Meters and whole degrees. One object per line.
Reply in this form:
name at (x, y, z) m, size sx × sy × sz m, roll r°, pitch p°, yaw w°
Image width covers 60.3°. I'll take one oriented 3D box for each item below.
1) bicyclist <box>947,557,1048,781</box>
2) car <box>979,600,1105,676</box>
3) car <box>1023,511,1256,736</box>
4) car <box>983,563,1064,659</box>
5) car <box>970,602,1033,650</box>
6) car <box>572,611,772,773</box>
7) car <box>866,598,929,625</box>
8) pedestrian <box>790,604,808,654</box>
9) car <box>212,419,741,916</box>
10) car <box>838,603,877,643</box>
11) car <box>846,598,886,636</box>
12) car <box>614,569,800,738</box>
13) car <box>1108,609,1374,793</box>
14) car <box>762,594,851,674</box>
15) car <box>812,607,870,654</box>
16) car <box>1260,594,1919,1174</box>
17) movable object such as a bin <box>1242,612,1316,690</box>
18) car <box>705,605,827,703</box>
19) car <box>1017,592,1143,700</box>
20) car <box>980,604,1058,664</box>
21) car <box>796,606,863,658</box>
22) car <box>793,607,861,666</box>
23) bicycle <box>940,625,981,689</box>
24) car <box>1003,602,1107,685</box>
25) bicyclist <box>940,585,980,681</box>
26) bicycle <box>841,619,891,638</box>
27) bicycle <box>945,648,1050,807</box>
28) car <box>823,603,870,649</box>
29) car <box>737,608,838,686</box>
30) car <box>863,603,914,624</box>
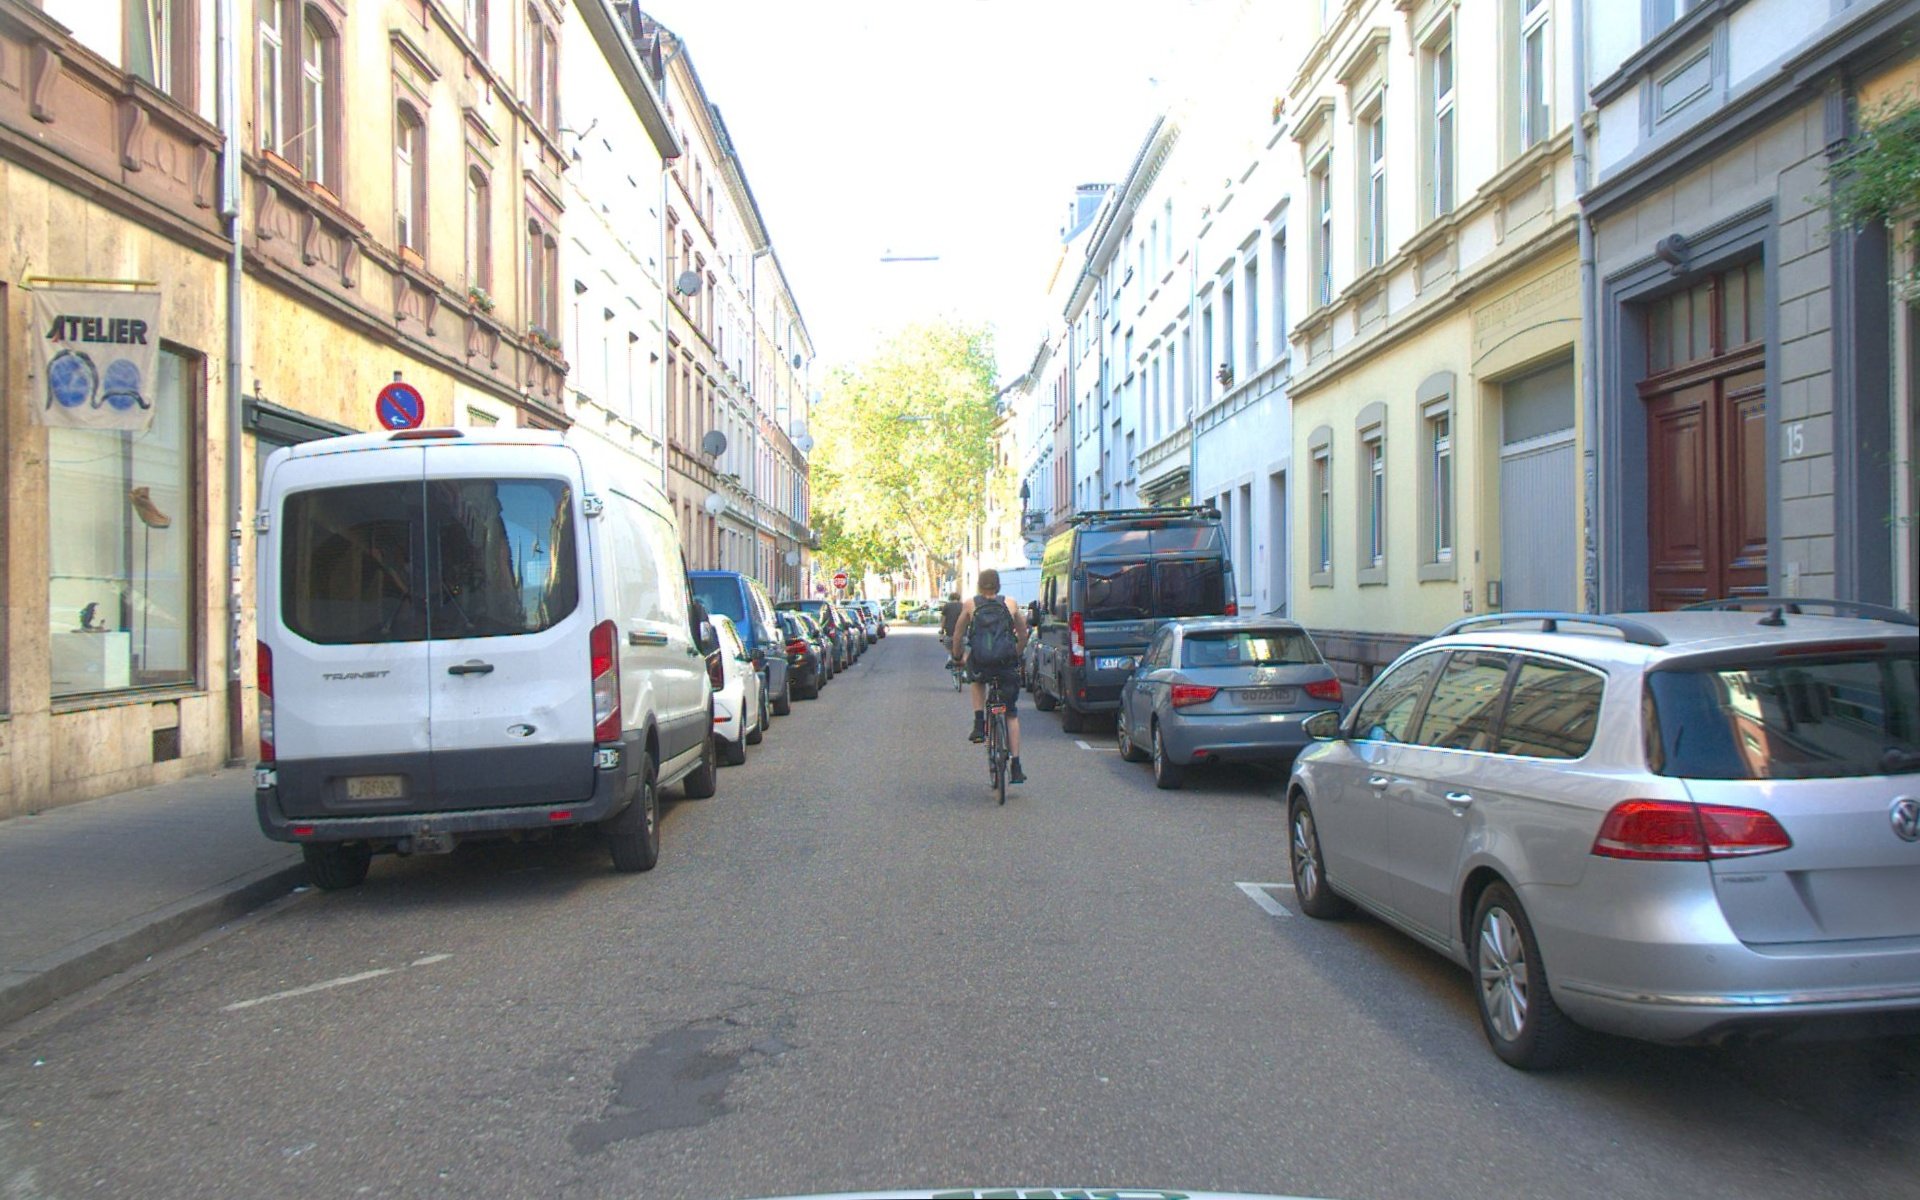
bicyclist at (0.284, 0.527, 13.242) m, size 0.725 × 1.708 × 1.116 m, roll 1°, pitch 0°, yaw -2°
car at (1.801, 0.813, 37.939) m, size 1.779 × 1.503 × 4.596 m, roll -4°, pitch 1°, yaw -11°
car at (2.158, 0.263, 21.921) m, size 2.131 × 2.467 × 6.307 m, roll -2°, pitch 0°, yaw -2°
car at (1.778, 0.295, 48.438) m, size 2.159 × 2.595 × 6.036 m, roll -1°, pitch 0°, yaw 1°
car at (1.329, 0.836, 54.953) m, size 1.697 × 1.496 × 4.018 m, roll -1°, pitch 0°, yaw -4°
car at (-2.945, 0.882, 17.592) m, size 1.612 × 1.472 × 3.837 m, roll -1°, pitch 0°, yaw -3°
car at (-4.503, 0.821, 118.537) m, size 4.383 × 1.790 × 1.864 m, roll -1°, pitch 0°, yaw -6°
pedestrian at (-6.164, 1.088, 63.345) m, size 0.598 × 1.890 × 0.753 m, roll 1°, pitch 0°, yaw -2°
car at (-2.890, 0.344, 11.541) m, size 2.125 × 2.495 × 5.918 m, roll -2°, pitch 0°, yaw -3°
car at (-4.197, 0.917, 67.222) m, size 1.514 × 1.578 × 3.462 m, roll -1°, pitch 0°, yaw -4°
car at (-4.490, 0.799, 79.418) m, size 1.752 × 1.767 × 3.874 m, roll -1°, pitch 0°, yaw -2°
car at (-3.262, 0.646, 22.180) m, size 1.790 × 1.924 × 4.612 m, roll -3°, pitch 0°, yaw -1°
car at (2.485, 0.835, 15.619) m, size 1.712 × 1.469 × 4.171 m, roll 0°, pitch 0°, yaw -1°
car at (-3.647, 0.788, 39.885) m, size 1.764 × 1.727 × 3.999 m, roll -3°, pitch 0°, yaw -1°
car at (-3.907, 0.970, 54.893) m, size 1.671 × 1.438 × 4.301 m, roll -1°, pitch 0°, yaw -1°
car at (2.642, 0.776, 6.840) m, size 1.750 × 1.479 × 4.545 m, roll -4°, pitch 0°, yaw -2°
movable object such as a bin at (4.672, 0.744, 24.269) m, size 0.846 × 1.060 × 0.707 m, roll -4°, pitch 0°, yaw -4°
car at (-3.296, 0.875, 28.872) m, size 1.825 × 1.465 × 4.642 m, roll -1°, pitch 0°, yaw -3°
car at (1.976, 0.732, 28.409) m, size 1.659 × 1.636 × 4.373 m, roll -3°, pitch 0°, yaw -2°
car at (1.482, 0.843, 42.983) m, size 1.690 × 1.454 × 3.830 m, roll -1°, pitch 0°, yaw -3°
car at (-3.897, 0.919, 49.834) m, size 1.639 × 1.455 × 3.888 m, roll -1°, pitch 0°, yaw 1°
car at (-3.579, 0.960, 44.865) m, size 1.559 × 1.465 × 3.653 m, roll -1°, pitch 0°, yaw -1°
bicycle at (-0.003, 1.003, 29.605) m, size 0.650 × 1.055 × 1.958 m, roll -1°, pitch 0°, yaw -1°
car at (1.836, 0.822, 33.156) m, size 1.711 × 1.511 × 4.241 m, roll -1°, pitch 0°, yaw -2°
bicyclist at (-0.006, 0.581, 29.535) m, size 0.656 × 1.687 × 0.877 m, roll -1°, pitch 0°, yaw -2°
bicycle at (-5.073, 1.531, 89.082) m, size 2.662 × 0.908 × 0.618 m, roll -1°, pitch 0°, yaw -4°
bicycle at (0.272, 0.984, 13.370) m, size 0.725 × 1.120 × 2.041 m, roll 1°, pitch 0°, yaw -2°
car at (-4.087, 0.924, 59.849) m, size 1.573 × 1.556 × 3.377 m, roll -2°, pitch 0°, yaw -3°
car at (-3.473, 0.912, 33.929) m, size 1.701 × 1.452 × 3.999 m, roll -1°, pitch 0°, yaw -1°
car at (-6.231, 1.203, 144.050) m, size 4.383 × 1.725 × 1.864 m, roll -1°, pitch 0°, yaw -6°
